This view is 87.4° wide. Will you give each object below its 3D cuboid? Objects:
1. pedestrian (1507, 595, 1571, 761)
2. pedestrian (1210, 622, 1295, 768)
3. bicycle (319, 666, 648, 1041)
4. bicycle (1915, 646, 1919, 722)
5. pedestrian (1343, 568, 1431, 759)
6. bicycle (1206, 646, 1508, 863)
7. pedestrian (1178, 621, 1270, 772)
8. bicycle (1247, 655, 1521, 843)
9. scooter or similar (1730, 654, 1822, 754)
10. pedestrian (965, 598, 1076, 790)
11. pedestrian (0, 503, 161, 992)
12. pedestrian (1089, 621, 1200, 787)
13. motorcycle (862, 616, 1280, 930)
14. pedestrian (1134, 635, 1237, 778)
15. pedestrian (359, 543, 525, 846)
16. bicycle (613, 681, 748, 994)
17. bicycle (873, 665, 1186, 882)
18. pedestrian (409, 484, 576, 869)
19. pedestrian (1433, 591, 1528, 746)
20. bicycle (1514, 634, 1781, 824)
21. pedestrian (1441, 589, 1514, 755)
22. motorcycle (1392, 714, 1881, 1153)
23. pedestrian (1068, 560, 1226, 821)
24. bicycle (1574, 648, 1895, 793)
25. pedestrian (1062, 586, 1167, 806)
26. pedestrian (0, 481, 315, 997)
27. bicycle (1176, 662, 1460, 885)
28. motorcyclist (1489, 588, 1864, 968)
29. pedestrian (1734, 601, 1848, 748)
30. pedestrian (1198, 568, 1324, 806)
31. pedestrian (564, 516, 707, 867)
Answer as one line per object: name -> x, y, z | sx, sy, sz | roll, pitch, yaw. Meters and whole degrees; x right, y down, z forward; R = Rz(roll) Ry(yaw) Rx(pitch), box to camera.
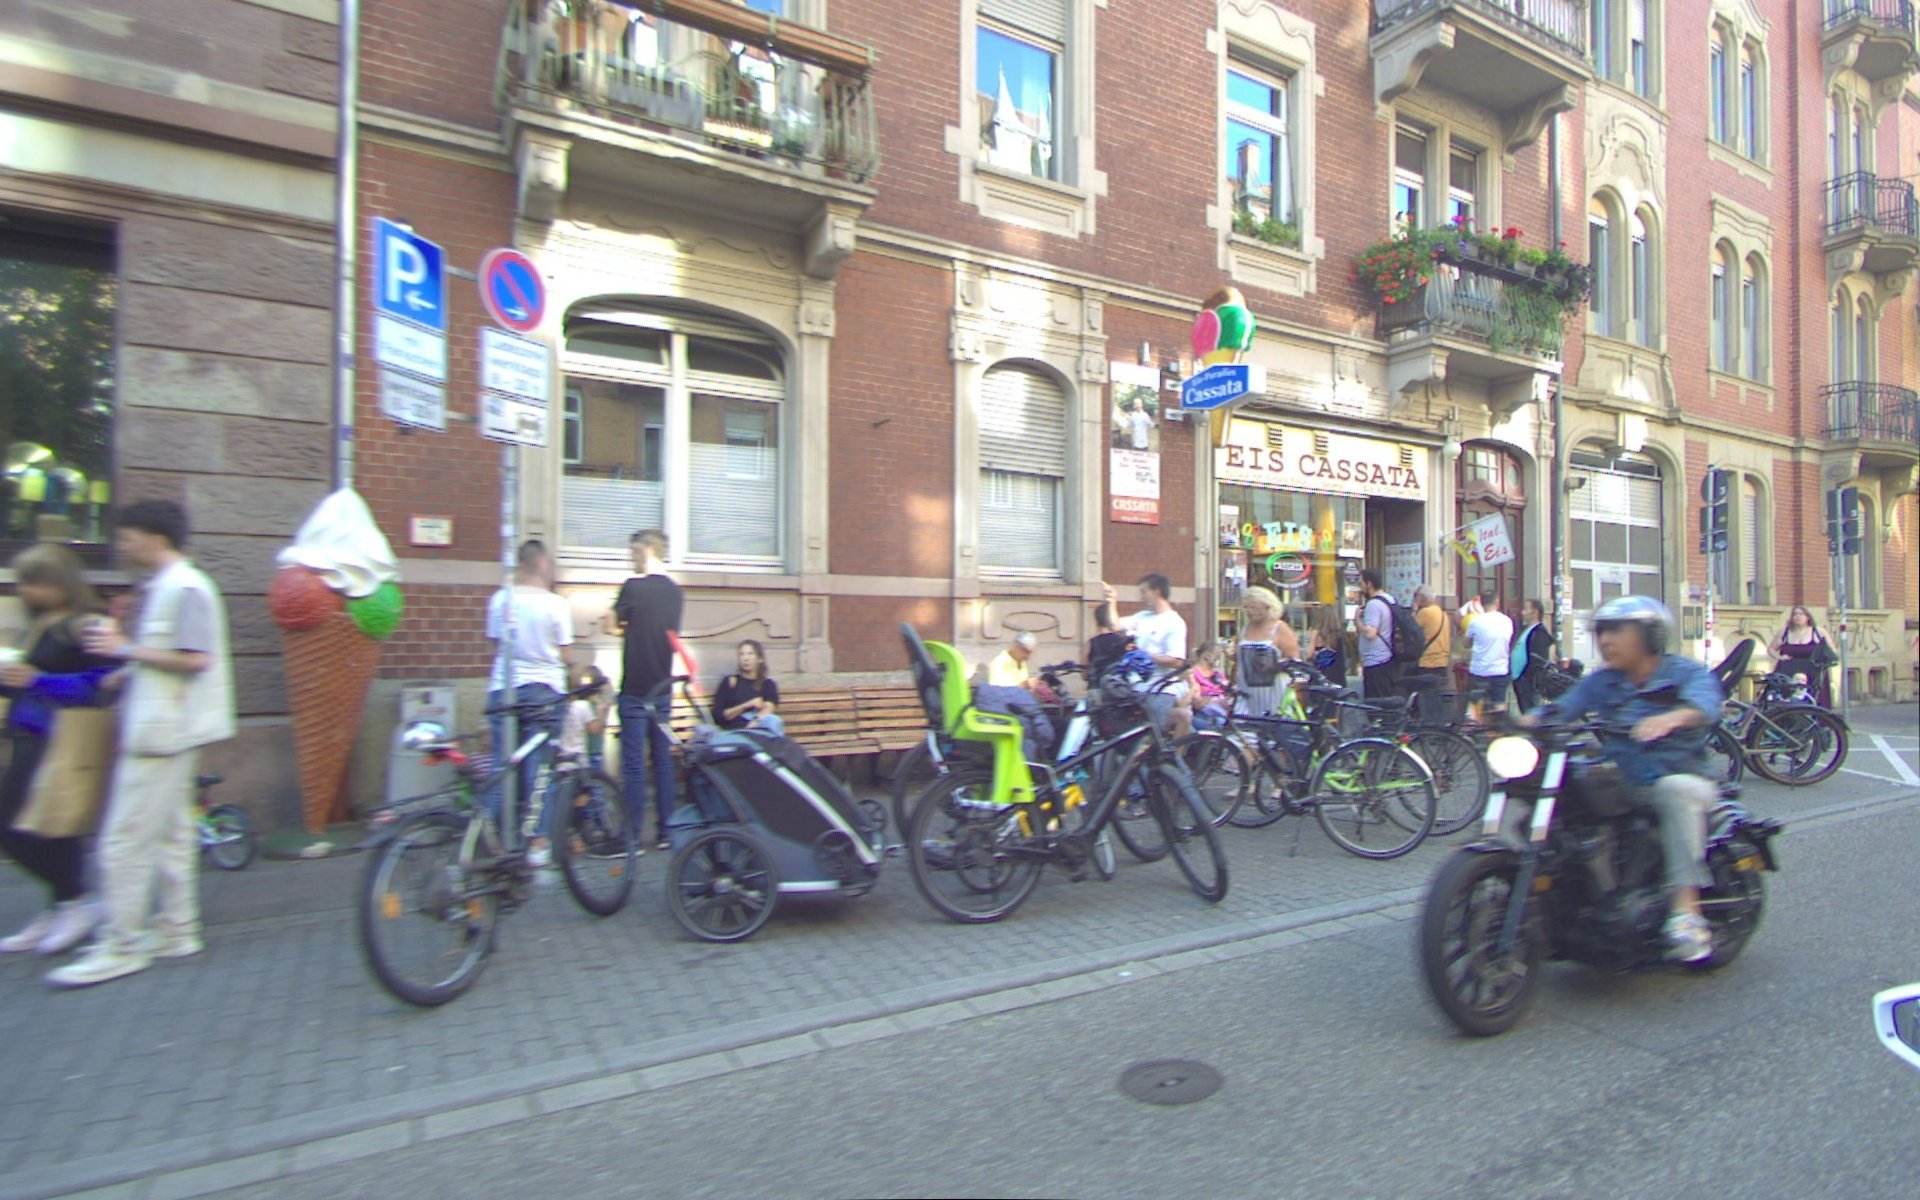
pedestrian -> 6.213, 0.809, 10.802 | 0.555, 1.718, 0.646 | 1, 0, 29
pedestrian -> 2.805, 0.885, 9.653 | 0.369, 1.331, 0.696 | 1, 0, -34
bicycle -> -1.815, 0.879, 4.083 | 0.366, 1.132, 1.583 | 1, 0, 9
bicycle -> 14.983, 1.252, 14.839 | 1.876, 1.110, 0.492 | 2, 0, -22
pedestrian -> 4.399, 0.622, 10.340 | 0.749, 1.878, 0.665 | 1, 0, 29
bicycle -> 2.569, 0.948, 6.605 | 1.756, 1.216, 0.590 | 1, 0, 24
pedestrian -> 2.470, 0.875, 9.420 | 0.435, 1.331, 0.713 | 1, 0, -34
bicycle -> 2.955, 0.996, 7.104 | 1.705, 1.135, 0.555 | 1, 0, 24
scooter or similar -> 9.525, 1.191, 11.726 | 0.913, 1.069, 0.601 | 1, 0, -36
pedestrian -> 0.488, 0.740, 8.209 | 0.714, 1.489, 0.604 | 1, 0, -20
pedestrian -> -3.817, 0.535, 3.987 | 0.652, 1.783, 0.763 | 1, 0, 0
pedestrian -> 1.574, 0.851, 8.600 | 0.600, 1.331, 0.718 | 1, 0, -33
motorcycle -> 0.552, 0.800, 5.122 | 1.990, 1.403, 0.707 | 1, 0, -16
pedestrian -> 2.042, 0.933, 9.128 | 0.580, 1.212, 0.704 | 1, 0, -34
pedestrian -> -3.216, 0.560, 6.291 | 0.652, 1.783, 0.690 | 1, 0, 0
bicycle -> -1.226, 0.957, 4.619 | 0.402, 1.044, 1.684 | 1, 0, -9
bicycle -> 0.403, 0.951, 5.827 | 1.710, 1.105, 0.578 | 1, 0, -17
pedestrian -> -2.604, 0.413, 5.657 | 0.618, 2.040, 0.645 | 1, 0, -2
pedestrian -> 6.014, 0.769, 11.611 | 0.754, 1.718, 0.660 | 1, 0, -30
bicycle -> 5.351, 0.964, 7.931 | 1.645, 1.340, 0.527 | 1, 0, 25
pedestrian -> 5.598, 0.752, 10.858 | 0.654, 1.718, 0.585 | 1, 0, 29
motorcycle -> 2.695, 1.043, 3.845 | 2.476, 1.008, 0.788 | 1, 0, -37
pedestrian -> 1.341, 0.624, 7.254 | 0.930, 1.775, 0.604 | 1, 0, -18
bicycle -> 7.050, 1.070, 9.257 | 2.224, 1.174, 0.809 | 1, 0, 7
pedestrian -> 1.202, 0.717, 7.844 | 0.577, 1.638, 0.550 | 1, 0, -30
pedestrian -> -3.150, 0.502, 3.991 | 0.652, 1.843, 0.763 | 1, 0, 0
bicycle -> 2.151, 0.989, 6.105 | 1.540, 1.135, 0.590 | 1, 0, 24
motorcyclist -> 2.807, 0.596, 3.982 | 0.795, 1.262, 1.006 | 1, 0, -36
pedestrian -> 10.098, 0.869, 12.210 | 0.821, 1.683, 0.904 | 1, 0, -38
pedestrian -> 2.351, 0.654, 7.886 | 0.714, 1.775, 0.604 | 1, 0, -20
pedestrian -> -1.860, 0.503, 5.828 | 0.589, 1.917, 0.648 | 1, 0, 0
